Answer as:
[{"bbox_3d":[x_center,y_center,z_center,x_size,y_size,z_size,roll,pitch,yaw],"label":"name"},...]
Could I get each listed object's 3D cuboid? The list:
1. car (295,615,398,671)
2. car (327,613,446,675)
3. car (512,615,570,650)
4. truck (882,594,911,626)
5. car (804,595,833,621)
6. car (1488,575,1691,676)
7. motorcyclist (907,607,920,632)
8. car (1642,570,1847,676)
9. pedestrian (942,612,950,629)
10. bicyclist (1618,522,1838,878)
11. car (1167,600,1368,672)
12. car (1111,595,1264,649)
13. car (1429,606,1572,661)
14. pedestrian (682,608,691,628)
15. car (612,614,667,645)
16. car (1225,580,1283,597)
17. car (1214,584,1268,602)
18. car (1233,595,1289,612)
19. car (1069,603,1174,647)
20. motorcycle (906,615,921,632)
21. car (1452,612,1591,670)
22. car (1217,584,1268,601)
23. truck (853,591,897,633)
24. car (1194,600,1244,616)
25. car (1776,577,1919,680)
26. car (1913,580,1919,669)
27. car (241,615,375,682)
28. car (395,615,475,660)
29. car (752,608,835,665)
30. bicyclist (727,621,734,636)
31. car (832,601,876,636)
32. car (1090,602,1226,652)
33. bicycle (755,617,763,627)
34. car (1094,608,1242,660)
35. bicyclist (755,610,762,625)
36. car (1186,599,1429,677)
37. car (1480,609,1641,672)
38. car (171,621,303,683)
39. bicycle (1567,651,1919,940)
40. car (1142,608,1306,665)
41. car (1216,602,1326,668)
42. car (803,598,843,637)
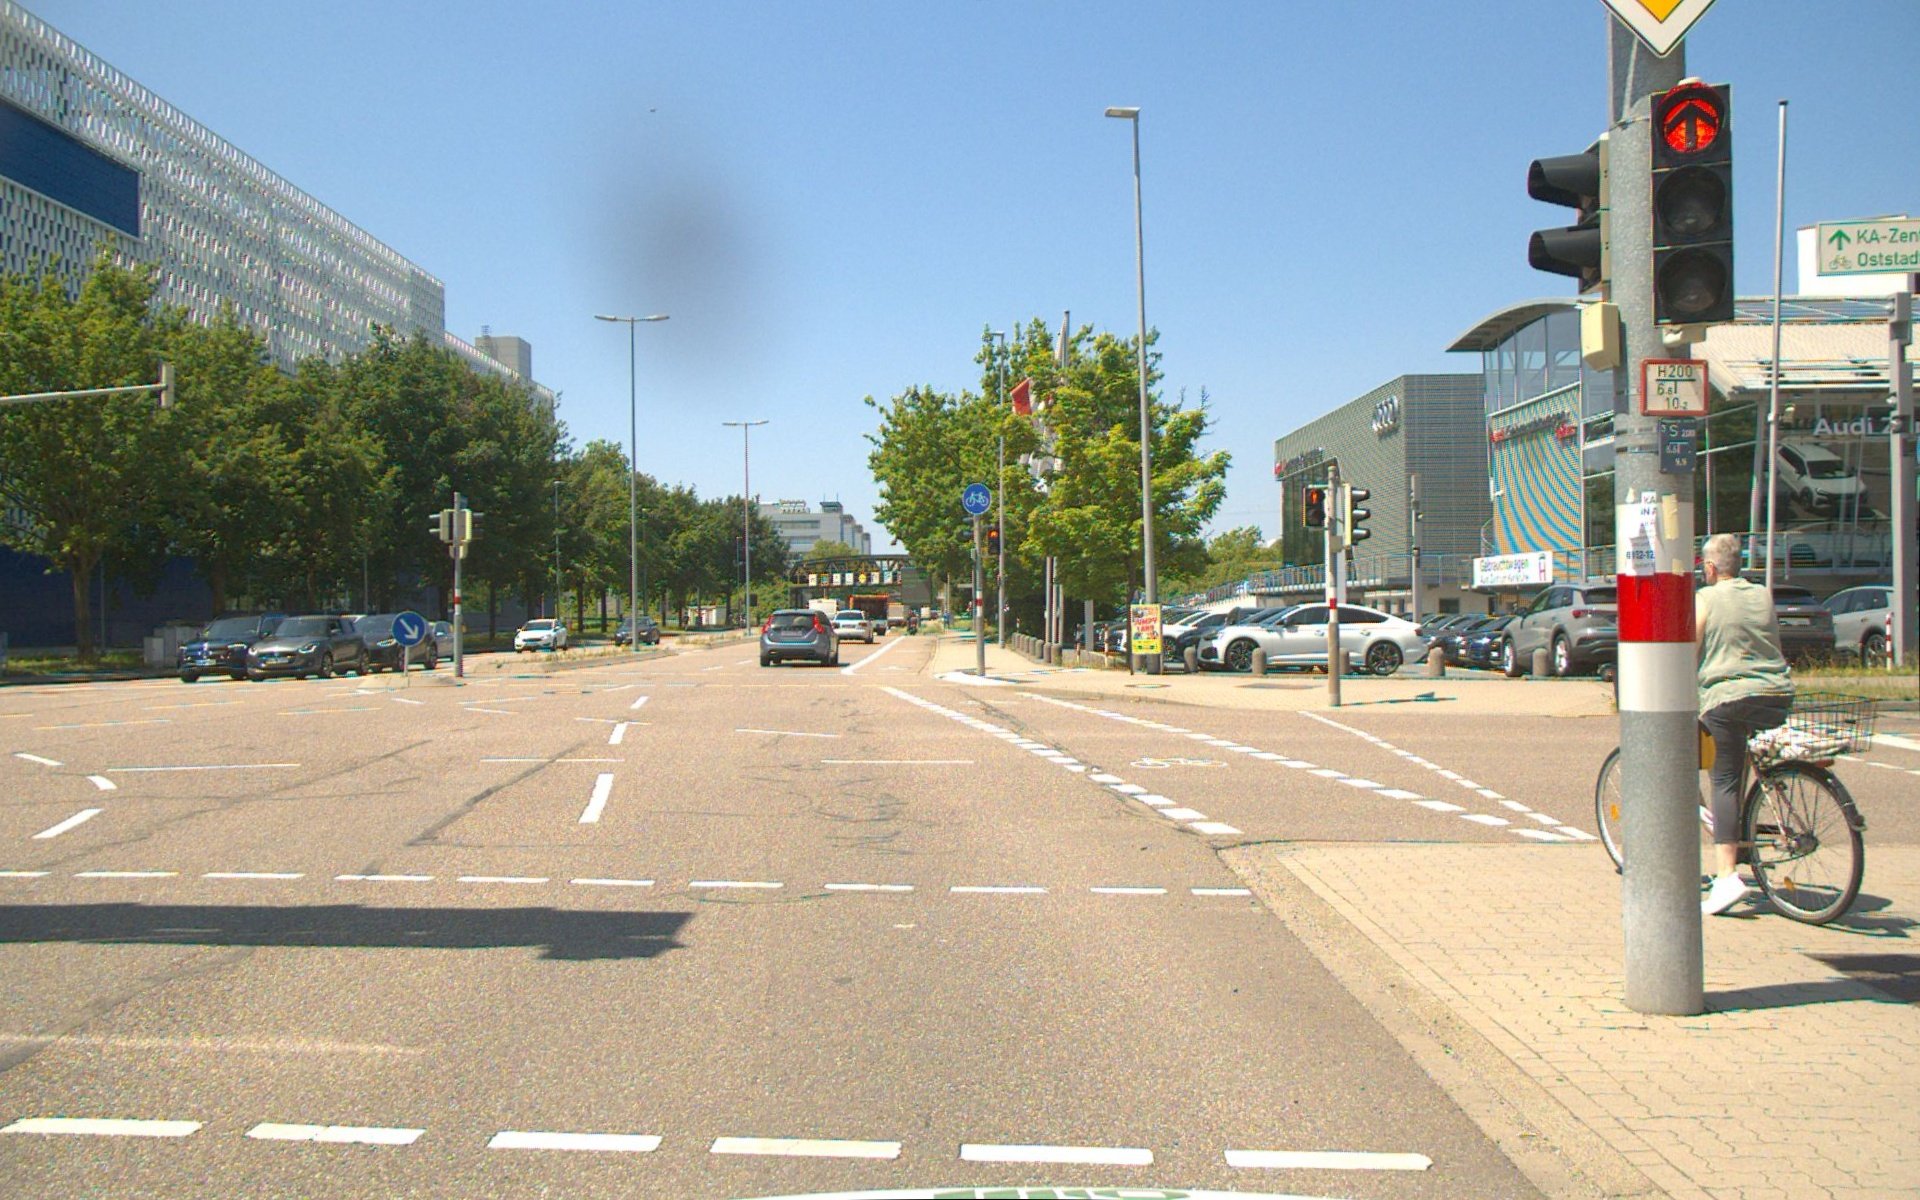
[{"bbox_3d":[-18.605,1.290,50.340,1.691,1.571,3.914,-2,-1,-1],"label":"car"},{"bbox_3d":[-15.452,1.170,44.756,1.691,1.531,4.243,-3,-1,0],"label":"car"},{"bbox_3d":[-19.187,1.492,75.902,1.708,1.512,3.999,-2,-1,-1],"label":"car"},{"bbox_3d":[-5.949,0.889,154.900,2.562,2.900,5.613,1,0,-1],"label":"truck"},{"bbox_3d":[-11.475,0.678,134.544,1.953,2.049,4.811,1,0,-1],"label":"car"},{"bbox_3d":[10.994,0.480,29.244,1.830,1.586,4.503,-2,-2,0],"label":"car"},{"bbox_3d":[-2.985,1.265,105.902,0.706,1.556,0.868,1,-1,-11],"label":"motorcyclist"},{"bbox_3d":[13.634,0.431,29.009,1.806,1.683,3.999,2,-2,2],"label":"car"},{"bbox_3d":[-1.151,1.655,134.633,0.611,1.399,0.564,-1,-1,-3],"label":"pedestrian"},{"bbox_3d":[3.712,0.466,8.047,0.616,1.634,0.824,1,-1,-8],"label":"bicyclist"},{"bbox_3d":[6.645,0.772,36.063,4.013,1.415,1.868,2,-1,-1],"label":"car"},{"bbox_3d":[6.371,0.623,46.575,4.016,1.372,1.868,2,-1,-1],"label":"car"},{"bbox_3d":[16.818,1.038,51.534,3.901,1.601,1.633,2,-1,-1],"label":"car"},{"bbox_3d":[-25.747,1.698,155.705,0.728,1.917,0.577,-1,-1,0],"label":"pedestrian"},{"bbox_3d":[-16.093,1.480,83.245,1.691,1.471,4.720,-3,-1,2],"label":"car"},{"bbox_3d":[21.432,-0.834,120.766,3.862,1.232,1.715,0,-1,-5],"label":"car"},{"bbox_3d":[22.040,-0.520,129.791,3.909,1.335,1.795,1,-1,-5],"label":"car"},{"bbox_3d":[21.277,0.236,116.979,3.652,1.150,1.682,1,-1,-5],"label":"car"},{"bbox_3d":[5.860,0.909,60.351,3.607,1.479,1.833,2,-1,-1],"label":"car"},{"bbox_3d":[-2.989,1.497,105.902,0.703,1.124,1.825,1,-1,-10],"label":"motorcycle"},{"bbox_3d":[16.774,1.227,49.488,3.573,1.608,1.642,2,-1,-1],"label":"car"},{"bbox_3d":[21.358,-0.565,125.089,3.455,1.261,1.675,1,-1,-5],"label":"car"},{"bbox_3d":[-5.203,0.723,102.462,2.408,2.452,7.132,1,0,-1],"label":"truck"},{"bbox_3d":[22.277,0.670,142.295,3.909,1.335,1.795,-1,-1,-5],"label":"car"},{"bbox_3d":[16.437,0.509,29.235,1.808,1.683,3.994,2,-1,-5],"label":"car"},{"bbox_3d":[18.706,0.482,28.968,1.604,1.644,3.814,0,1,-5],"label":"car"},{"bbox_3d":[-15.163,1.118,38.641,1.610,1.413,3.715,-3,-1,0],"label":"car"},{"bbox_3d":[-18.632,1.324,58.811,1.616,1.512,3.914,-2,-1,-1],"label":"car"},{"bbox_3d":[-4.343,0.936,43.671,1.862,1.400,4.230,-1,0,-2],"label":"car"},{"bbox_3d":[-23.482,2.910,169.181,0.624,1.610,0.884,-1,-1,-3],"label":"bicyclist"},{"bbox_3d":[-4.582,0.785,71.911,1.708,1.420,3.528,-1,0,-1],"label":"car"},{"bbox_3d":[6.224,0.847,52.233,4.017,1.429,1.868,2,-1,-1],"label":"car"},{"bbox_3d":[-22.981,2.510,189.131,0.616,1.179,2.116,-3,0,-2],"label":"bicycle"},{"bbox_3d":[6.132,0.998,49.106,4.140,1.415,1.868,2,-1,-1],"label":"car"},{"bbox_3d":[-23.004,1.969,189.060,0.621,1.657,1.044,-3,-1,-2],"label":"bicyclist"},{"bbox_3d":[6.935,0.750,33.349,4.497,1.415,1.869,2,-1,1],"label":"car"},{"bbox_3d":[16.835,1.129,46.485,3.904,1.650,1.656,2,-1,-1],"label":"car"},{"bbox_3d":[-18.335,1.290,42.106,1.627,1.449,4.037,-2,-1,-1],"label":"car"},{"bbox_3d":[3.710,0.864,8.032,0.616,1.153,1.892,0,1,-7],"label":"bicycle"},{"bbox_3d":[6.946,0.955,43.788,4.013,1.388,1.874,2,-1,-1],"label":"car"},{"bbox_3d":[7.404,0.819,39.786,1.824,1.444,4.663,2,-1,1],"label":"car"},{"bbox_3d":[-7.485,0.971,90.519,1.953,2.049,3.998,-1,0,-2],"label":"car"}]
